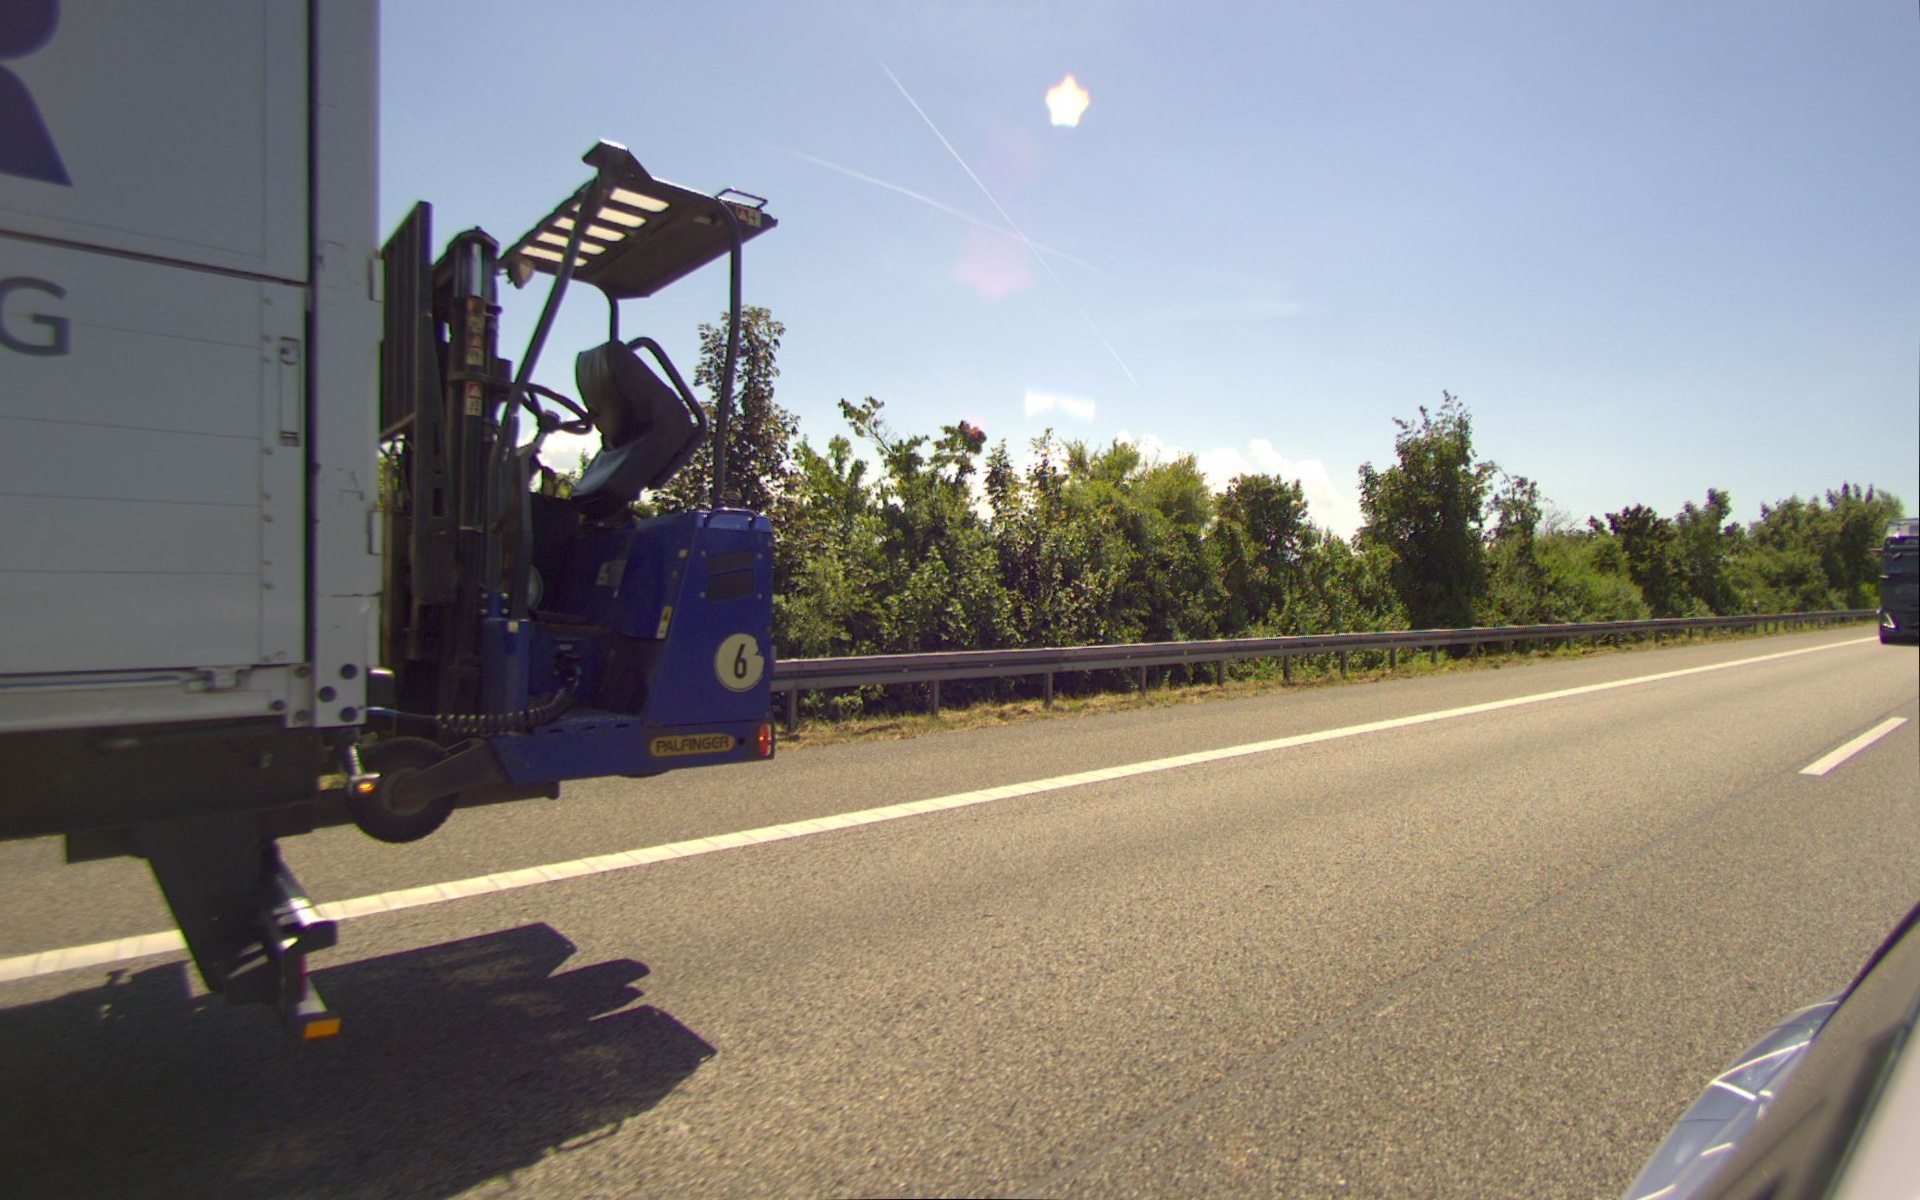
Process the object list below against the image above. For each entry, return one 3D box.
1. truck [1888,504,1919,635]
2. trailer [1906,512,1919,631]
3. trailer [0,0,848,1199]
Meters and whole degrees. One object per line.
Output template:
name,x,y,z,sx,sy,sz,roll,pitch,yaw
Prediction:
truck,32.216,-0.941,32.743,6.400,4.004,2.557,0,0,-41
trailer,37.766,-0.970,37.573,13.302,4.004,2.557,0,0,-41
trailer,-4.300,-0.599,1.553,7.987,4.114,2.950,-1,0,-41
